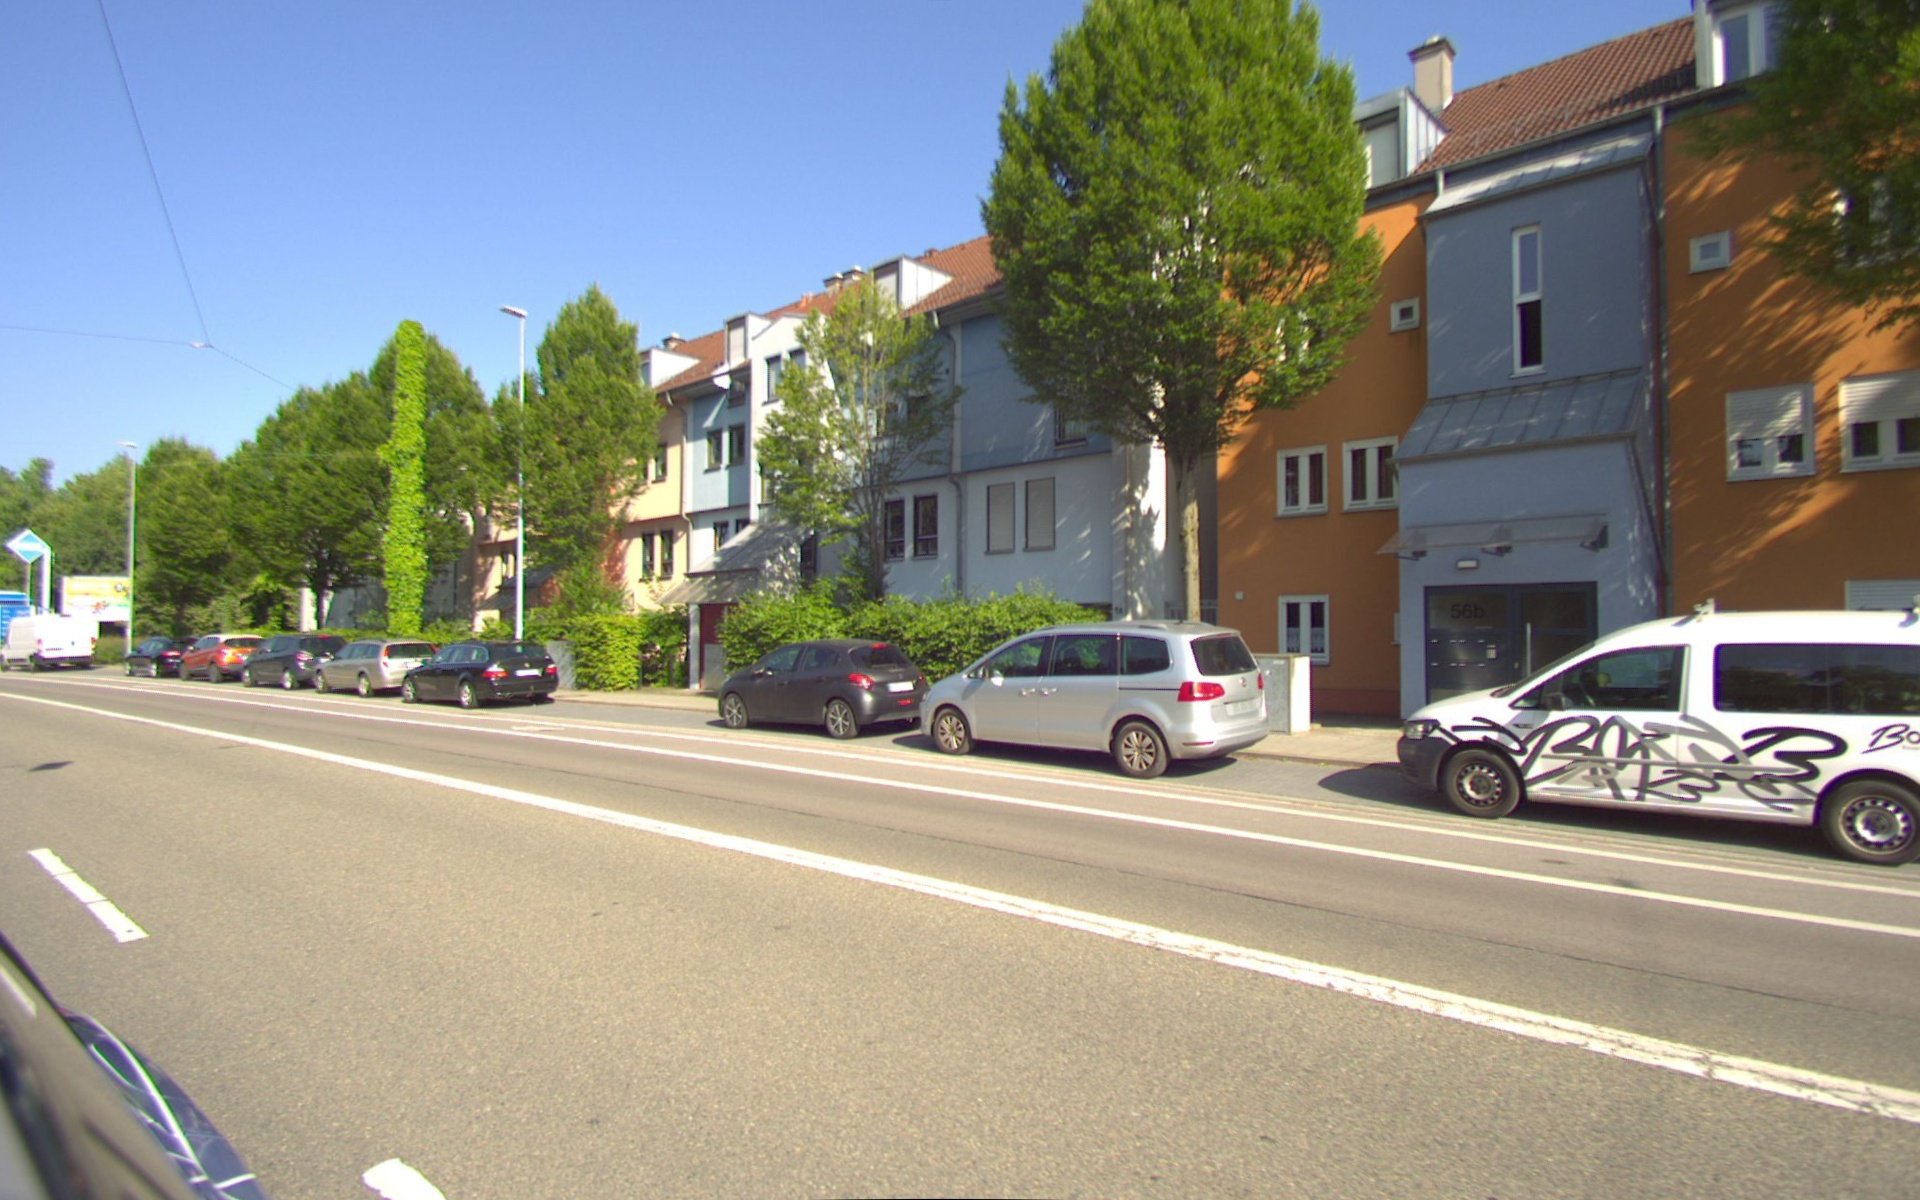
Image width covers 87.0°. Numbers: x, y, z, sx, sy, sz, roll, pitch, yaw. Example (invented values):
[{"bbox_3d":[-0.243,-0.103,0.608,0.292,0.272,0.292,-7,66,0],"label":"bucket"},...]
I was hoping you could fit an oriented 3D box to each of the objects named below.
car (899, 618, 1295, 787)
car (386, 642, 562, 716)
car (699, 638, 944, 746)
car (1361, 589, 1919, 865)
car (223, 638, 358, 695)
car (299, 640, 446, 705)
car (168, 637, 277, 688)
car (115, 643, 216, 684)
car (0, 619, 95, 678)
[{"bbox_3d":[1.521,1.130,12.696,4.823,1.714,1.650,-2,-1,42],"label":"car"},{"bbox_3d":[-11.333,1.749,23.456,4.903,1.483,1.693,-2,-1,38],"label":"car"},{"bbox_3d":[-2.318,1.383,16.298,4.055,1.477,1.599,-2,-1,40],"label":"car"},{"bbox_3d":[6.126,0.929,8.741,4.577,1.859,1.745,-2,2,41],"label":"car"},{"bbox_3d":[-20.205,1.948,30.496,4.423,1.586,1.749,-1,-1,32],"label":"car"},{"bbox_3d":[-15.909,1.883,27.294,4.836,1.482,1.697,-1,0,37],"label":"car"},{"bbox_3d":[-24.824,2.064,34.039,4.153,1.586,1.747,-1,-2,36],"label":"car"},{"bbox_3d":[-29.210,2.295,37.155,4.702,1.435,1.638,-2,-3,35],"label":"car"},{"bbox_3d":[-41.511,2.183,45.631,6.164,2.476,2.135,-2,-1,33],"label":"car"}]
